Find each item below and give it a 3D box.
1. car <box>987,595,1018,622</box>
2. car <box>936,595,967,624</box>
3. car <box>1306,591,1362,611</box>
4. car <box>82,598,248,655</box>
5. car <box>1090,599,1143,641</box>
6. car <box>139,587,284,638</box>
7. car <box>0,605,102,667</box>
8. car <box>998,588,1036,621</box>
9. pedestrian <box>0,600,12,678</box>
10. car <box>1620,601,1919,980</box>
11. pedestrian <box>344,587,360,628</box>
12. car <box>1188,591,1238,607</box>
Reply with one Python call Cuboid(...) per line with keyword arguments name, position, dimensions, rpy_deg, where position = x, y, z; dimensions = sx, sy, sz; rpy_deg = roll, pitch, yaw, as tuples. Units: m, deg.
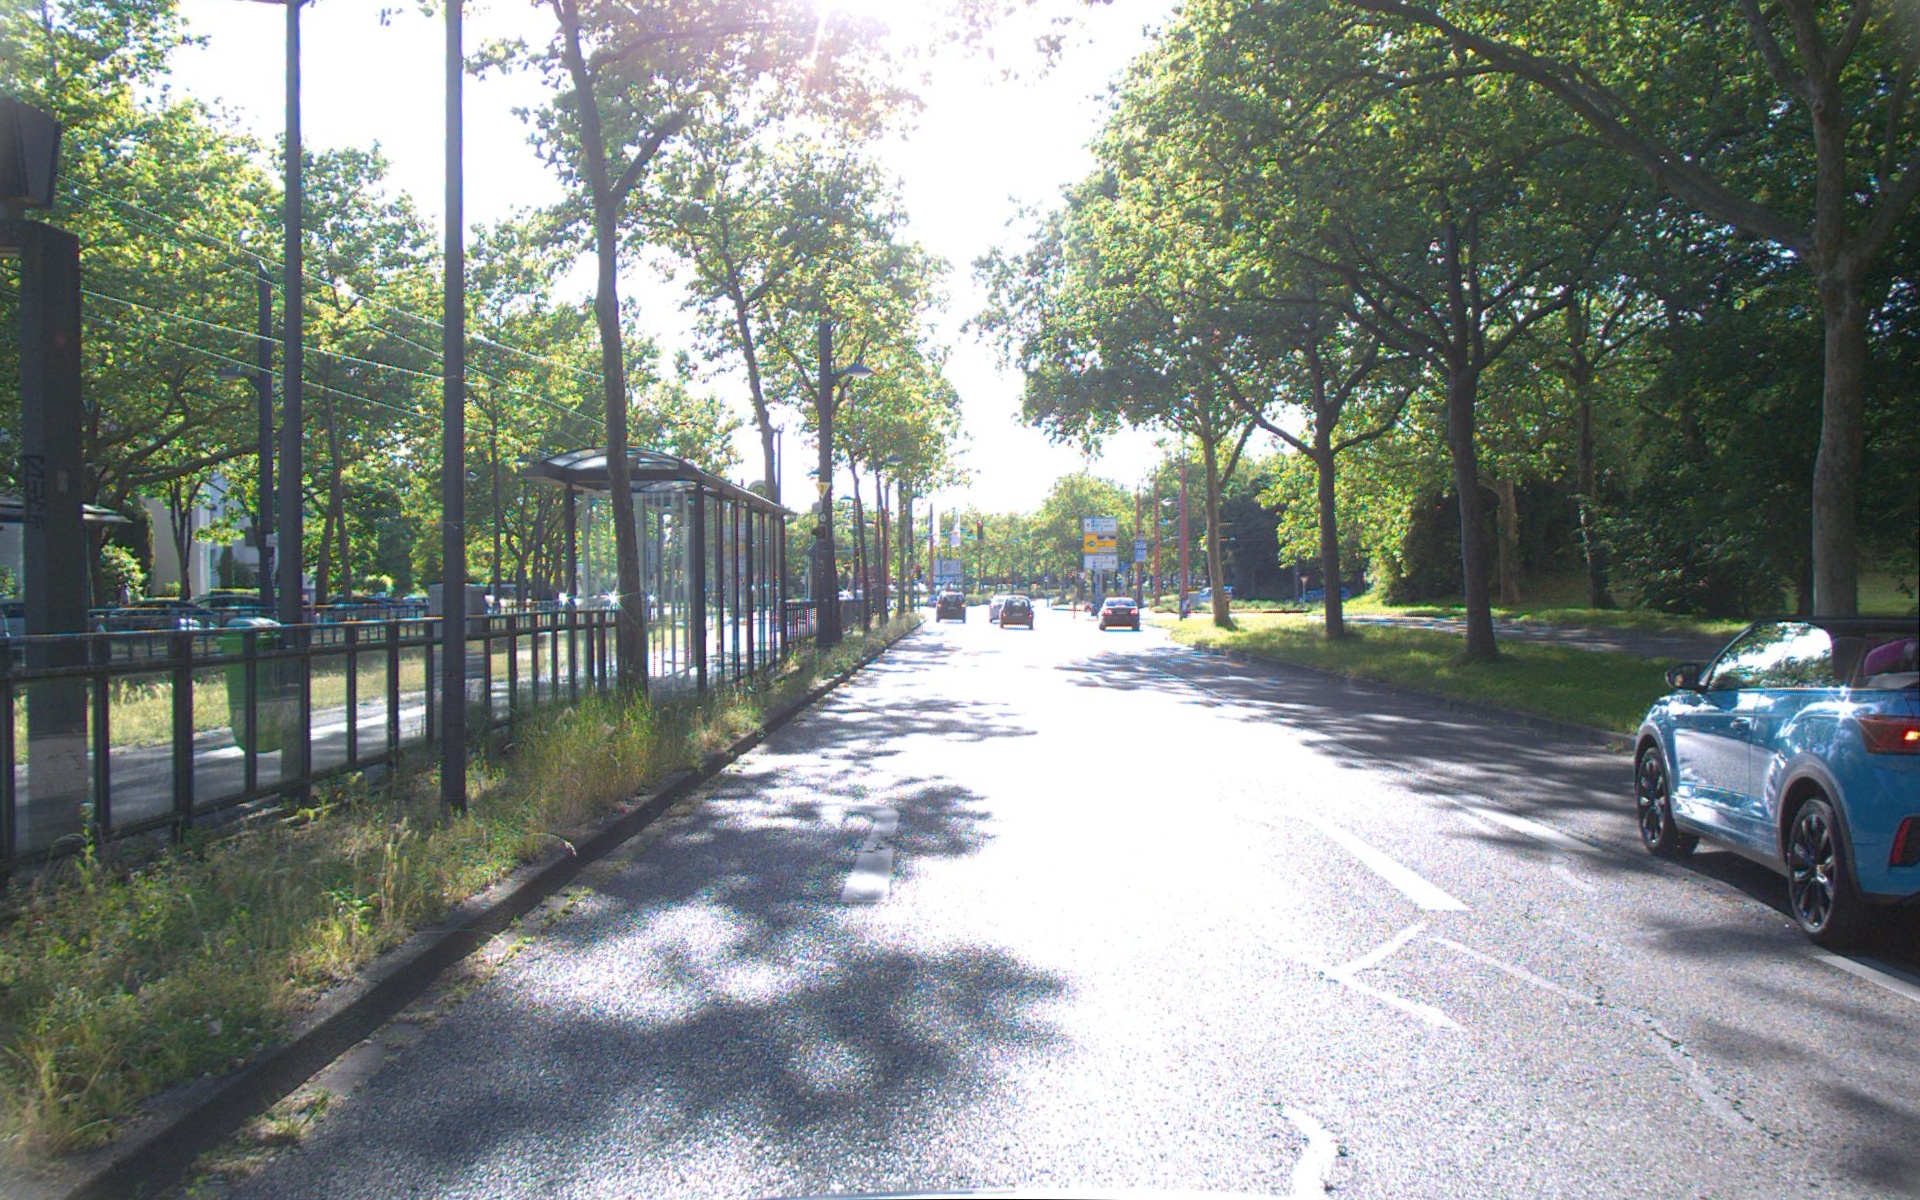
Cuboid(name="car", position=(2.366, 0.483, 93.127), dimensions=(1.644, 1.501, 4.131), rpy_deg=(1, 0, 1))
Cuboid(name="car", position=(-0.506, 0.528, 92.591), dimensions=(1.676, 1.631, 3.349), rpy_deg=(0, 0, -1))
Cuboid(name="car", position=(31.142, 0.059, 137.781), dimensions=(4.265, 1.586, 1.871), rpy_deg=(1, 0, 25))
Cuboid(name="car", position=(-23.532, 0.761, 49.074), dimensions=(1.616, 1.571, 4.152), rpy_deg=(2, 1, 41))
Cuboid(name="car", position=(7.184, 0.897, 76.467), dimensions=(1.941, 1.823, 4.613), rpy_deg=(1, 0, -1))
Cuboid(name="car", position=(-24.076, 0.380, 53.278), dimensions=(3.960, 1.571, 1.621), rpy_deg=(0, 1, -42))
Cuboid(name="car", position=(-24.027, 0.897, 41.641), dimensions=(1.547, 1.499, 4.037), rpy_deg=(2, 1, 41))
Cuboid(name="car", position=(2.706, 0.201, 79.343), dimensions=(1.605, 1.520, 3.502), rpy_deg=(1, 1, -1))
Cuboid(name="pedestrian", position=(-14.383, 0.587, 24.110), dimensions=(0.680, 1.147, 0.662), rpy_deg=(-3, 0, 0))
Cuboid(name="car", position=(4.912, 0.772, 8.643), dimensions=(1.738, 1.509, 4.103), rpy_deg=(0, 0, 7))
Cuboid(name="pedestrian", position=(-27.326, 0.317, 74.331), dimensions=(0.466, 1.823, 0.717), rpy_deg=(1, -1, -1))
Cuboid(name="car", position=(21.763, -0.096, 142.400), dimensions=(3.908, 1.361, 1.727), rpy_deg=(1, 0, 26))
